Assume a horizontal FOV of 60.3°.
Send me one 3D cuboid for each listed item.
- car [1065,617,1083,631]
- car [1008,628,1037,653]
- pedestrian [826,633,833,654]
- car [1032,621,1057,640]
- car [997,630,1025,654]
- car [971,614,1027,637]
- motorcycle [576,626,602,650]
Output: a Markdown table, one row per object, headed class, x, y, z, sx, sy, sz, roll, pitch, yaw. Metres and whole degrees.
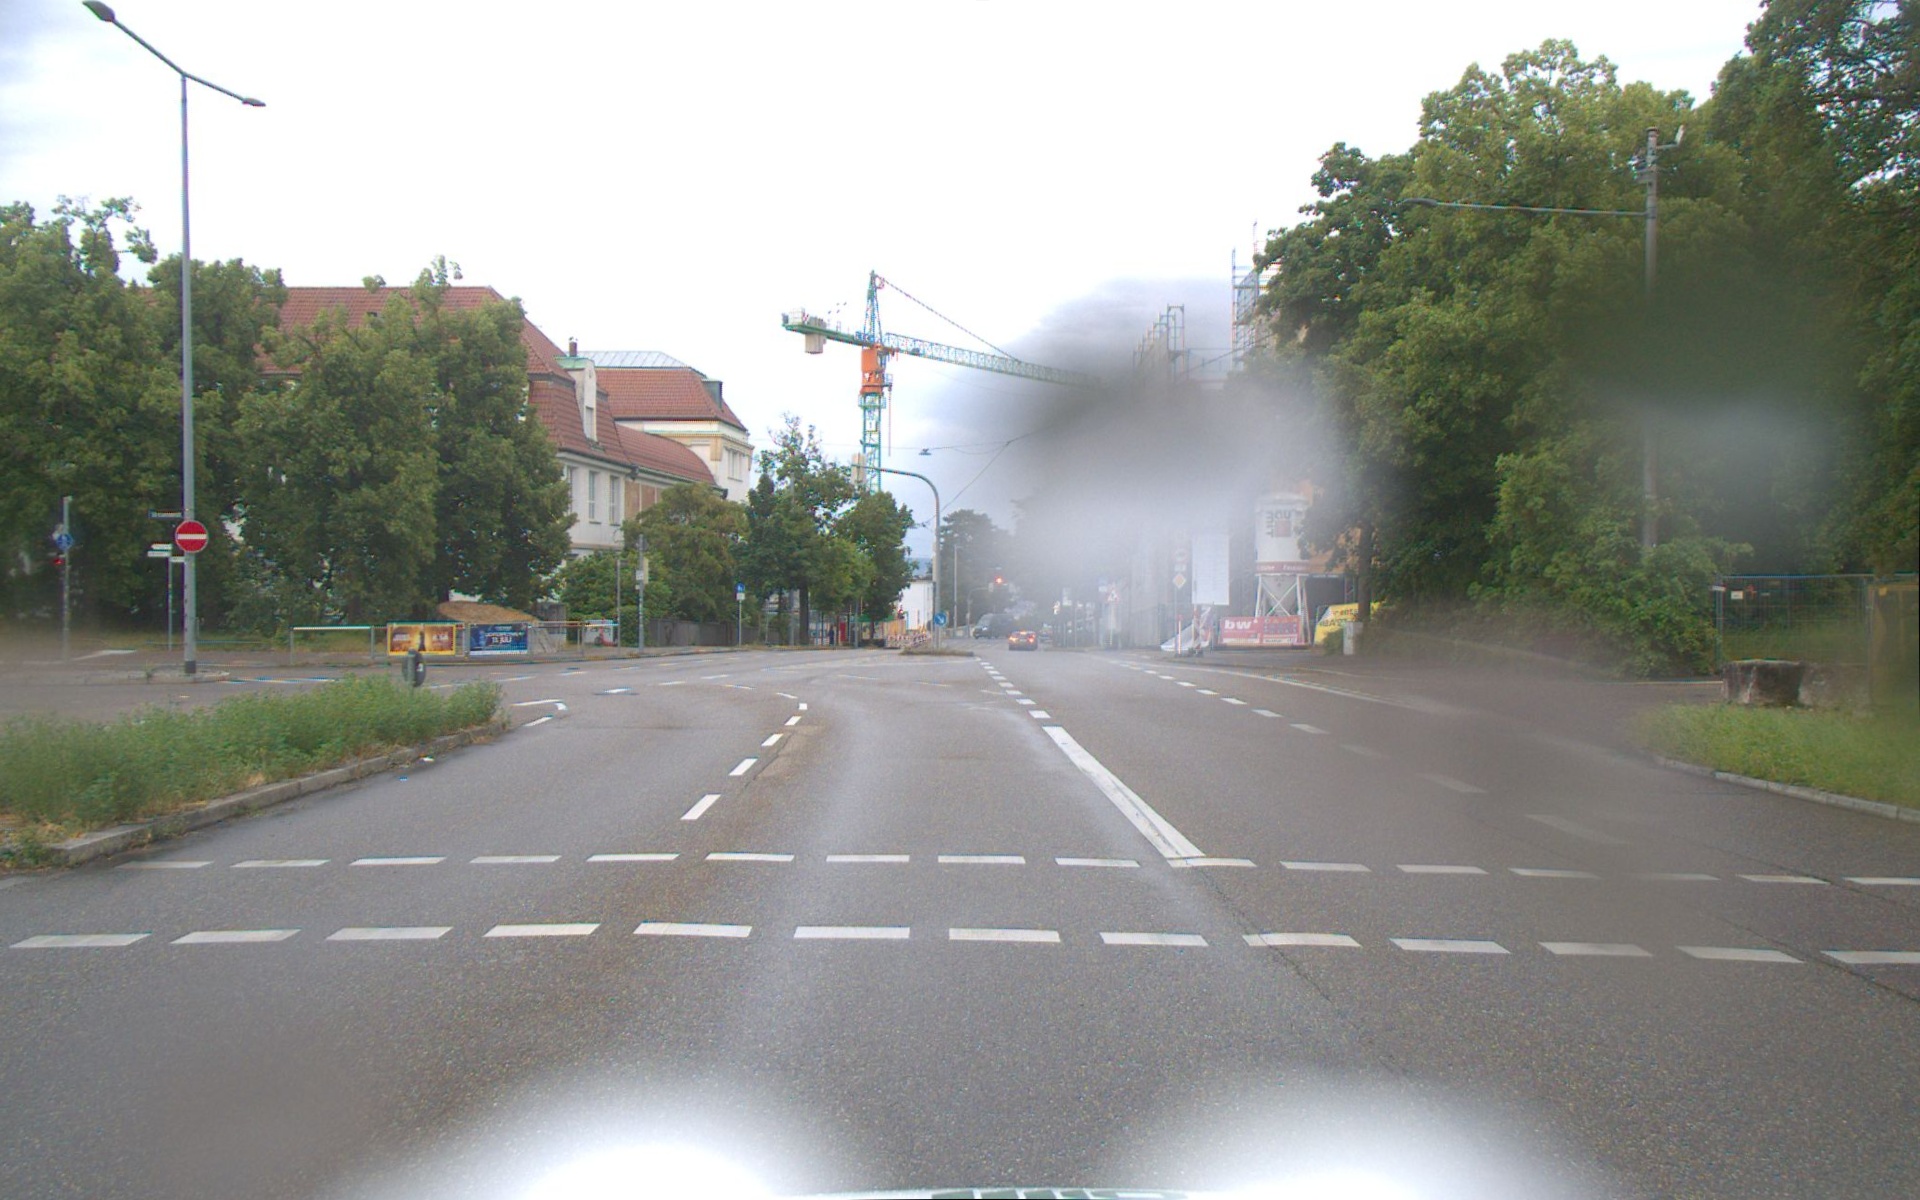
| class | x | y | z | sx | sy | sz | roll | pitch | yaw |
| --- | --- | --- | --- | --- | --- | --- | --- | --- | --- |
| car | 15.080 | 3.192 | 219.465 | 1.951 | 1.780 | 4.003 | -1 | 0 | 10 |
| car | 4.694 | 3.081 | 125.236 | 1.953 | 1.780 | 3.999 | -1 | 0 | -1 |
| pedestrian | -10.235 | 3.409 | 129.581 | 0.483 | 1.674 | 0.534 | 1 | -1 | 3 |
| car | 8.632 | 3.104 | 168.105 | 1.951 | 1.780 | 4.003 | -1 | 0 | 12 |
| car | 4.049 | 3.366 | 132.075 | 1.953 | 1.780 | 3.999 | -1 | 0 | -1 |
| car | 4.248 | 2.808 | 179.898 | 2.805 | 2.445 | 6.153 | 1 | 0 | 40 |
| motorcycle | -14.508 | 1.482 | 64.719 | 0.832 | 0.893 | 0.877 | 1 | 0 | -1 |
